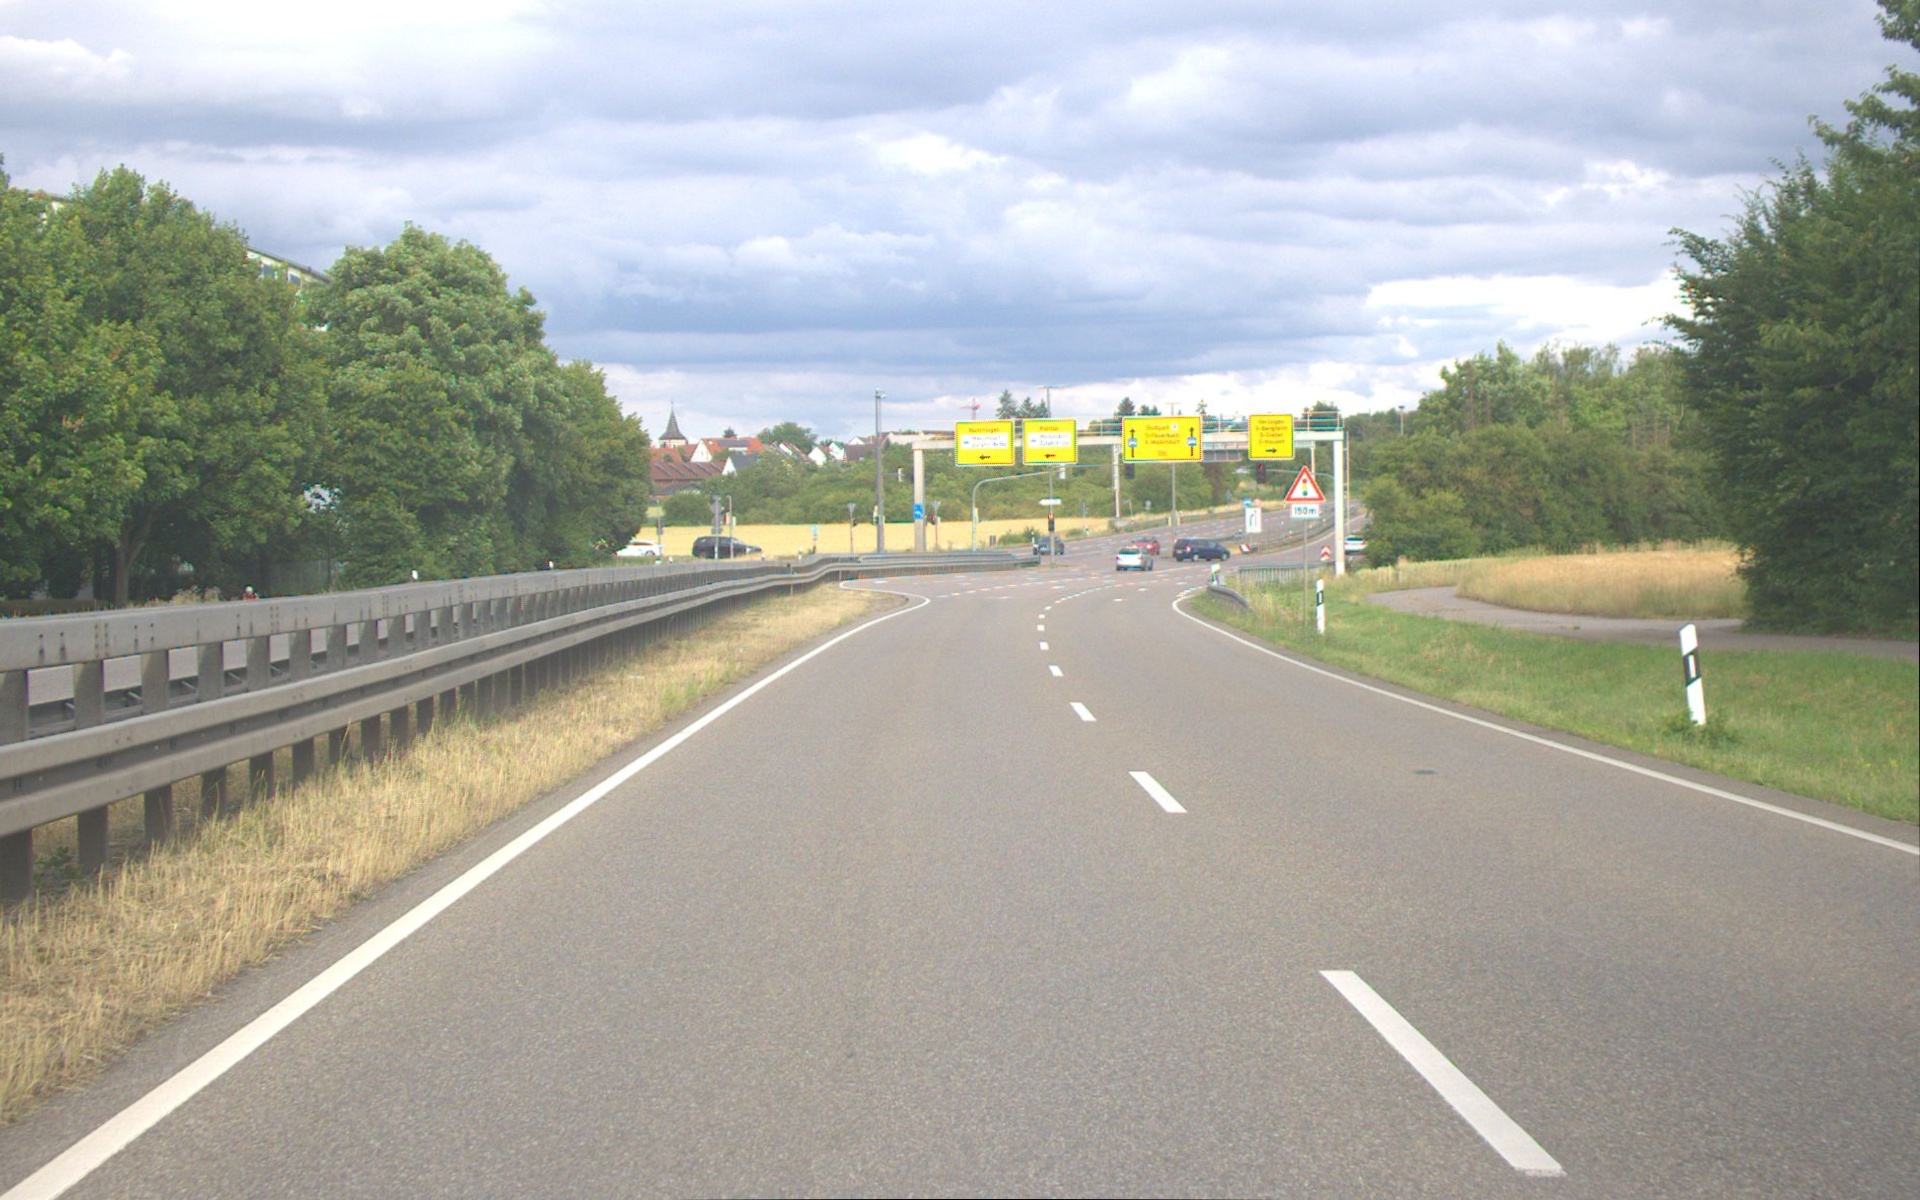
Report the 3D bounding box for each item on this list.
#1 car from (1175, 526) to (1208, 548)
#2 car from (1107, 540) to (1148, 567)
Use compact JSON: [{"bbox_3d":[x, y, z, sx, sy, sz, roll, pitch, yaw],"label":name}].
[{"bbox_3d":[16.686,-4.504,247.558,1.799,1.551,3.998,0,1,13],"label":"car"},{"bbox_3d":[10.049,-2.799,206.041,1.799,1.551,3.998,0,1,13],"label":"car"}]
